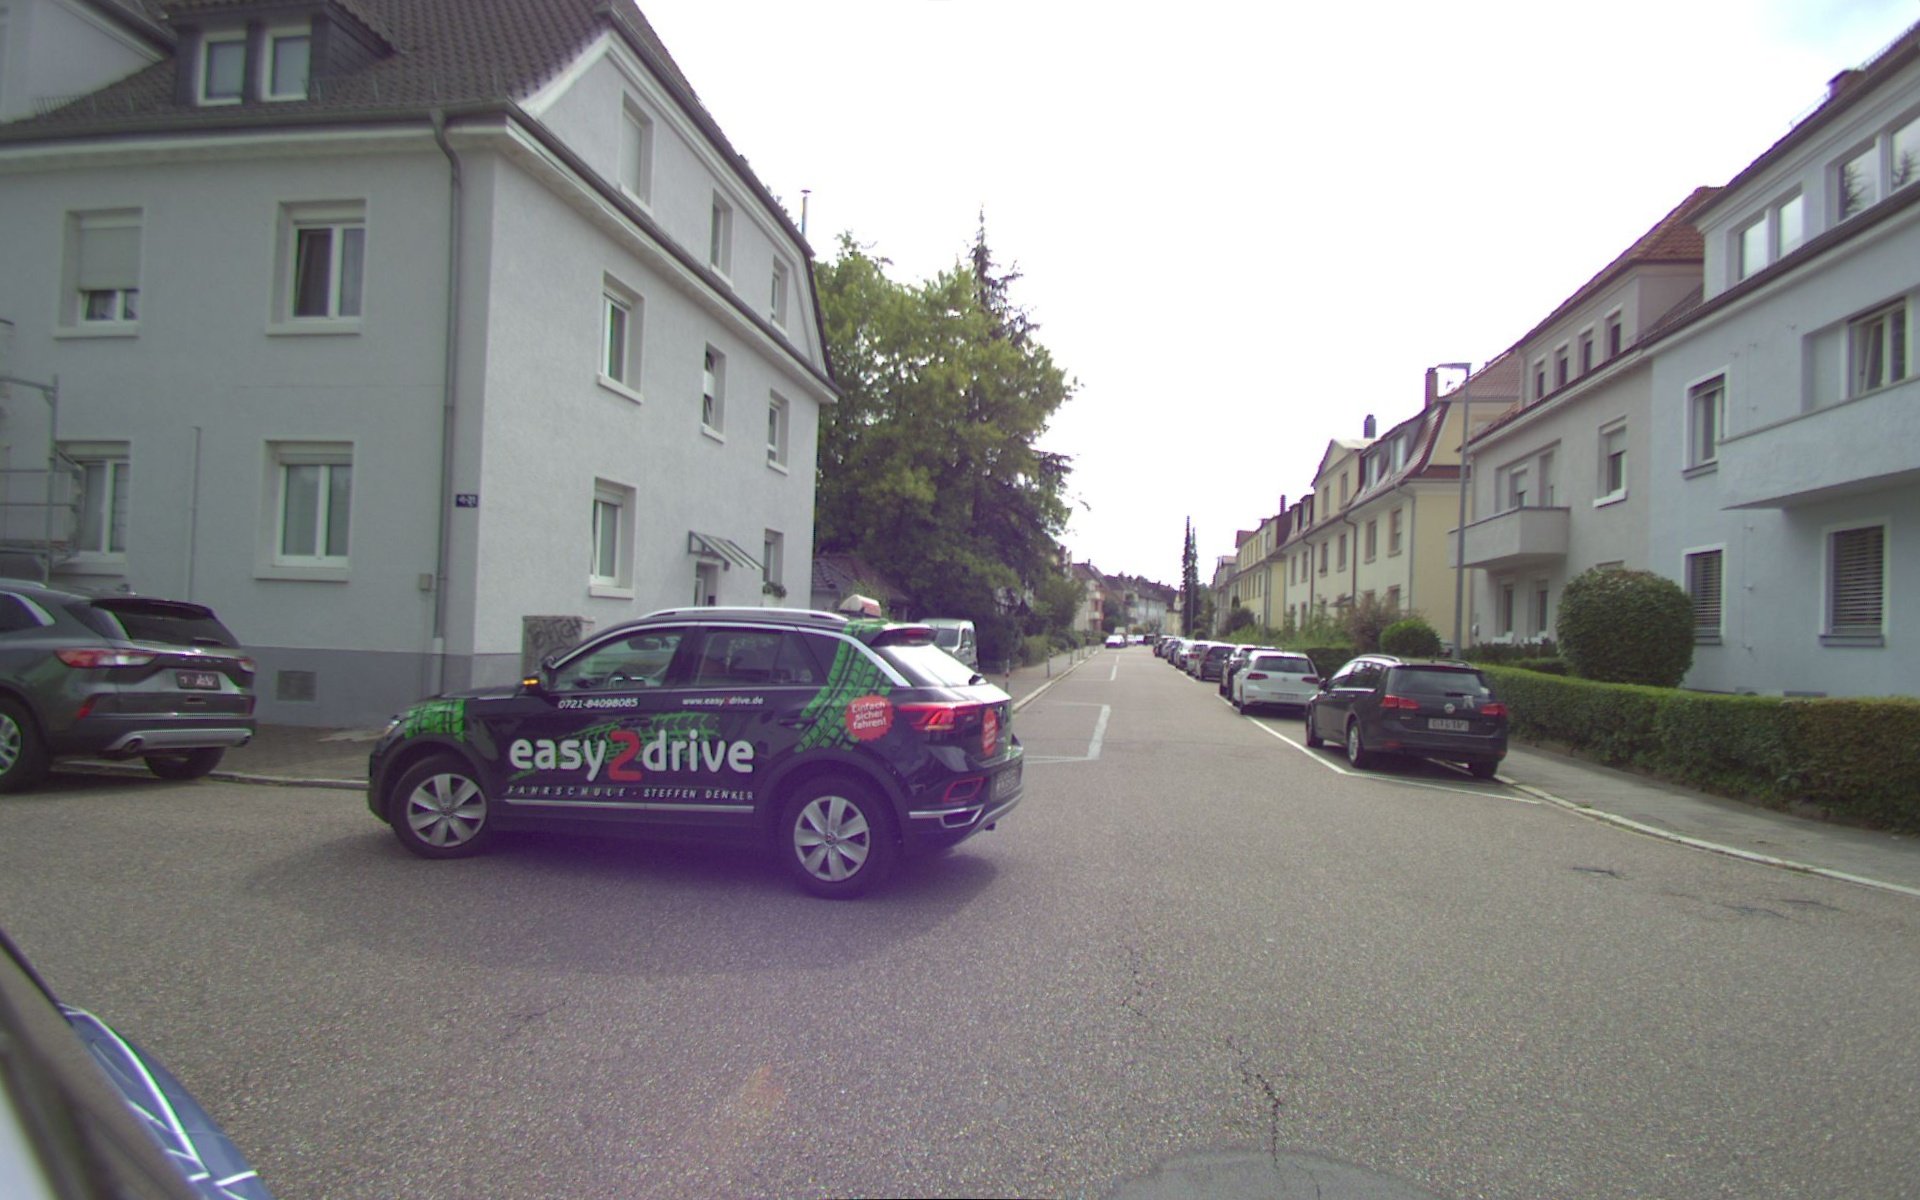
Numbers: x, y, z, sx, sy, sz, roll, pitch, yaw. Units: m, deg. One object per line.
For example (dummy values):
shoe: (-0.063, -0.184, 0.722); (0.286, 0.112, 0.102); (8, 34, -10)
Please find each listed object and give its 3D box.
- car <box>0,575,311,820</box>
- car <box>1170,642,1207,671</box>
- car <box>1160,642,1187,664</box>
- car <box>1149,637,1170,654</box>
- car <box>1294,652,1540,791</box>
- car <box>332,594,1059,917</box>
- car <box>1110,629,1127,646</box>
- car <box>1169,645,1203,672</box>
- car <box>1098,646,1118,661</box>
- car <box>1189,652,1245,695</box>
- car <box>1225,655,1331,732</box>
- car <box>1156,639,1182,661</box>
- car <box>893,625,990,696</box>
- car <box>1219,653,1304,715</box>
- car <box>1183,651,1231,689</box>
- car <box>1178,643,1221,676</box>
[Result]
car: (-8.238, 0.684, 8.578); (4.290, 1.740, 1.995); (2, -2, 7)
car: (12.903, 3.176, 57.364); (1.840, 1.483, 4.161); (2, -2, 11)
car: (15.564, 3.844, 73.951); (1.840, 1.483, 4.161); (2, -2, 11)
car: (19.290, 4.393, 98.125); (1.839, 1.590, 4.162); (2, -2, 9)
car: (6.032, 1.522, 13.940); (1.837, 1.483, 4.167); (2, -2, 6)
car: (-1.525, 0.791, 6.306); (4.007, 1.531, 1.812); (0, -3, 16)
car: (20.557, 4.860, 131.418); (1.979, 2.029, 3.985); (2, -2, 12)
car: (13.773, 3.565, 61.746); (1.840, 1.483, 4.161); (2, -2, 11)
car: (17.455, 6.276, 118.911); (1.980, 1.652, 3.983); (2, -2, 13)
car: (10.128, 2.869, 40.080); (1.840, 1.483, 4.161); (2, -2, 11)
car: (7.325, 2.097, 23.659); (1.840, 1.483, 4.161); (2, -2, 11)
car: (16.295, 3.913, 79.111); (1.840, 1.590, 4.161); (2, -2, 11)
car: (-0.457, 1.695, 29.195); (1.979, 1.852, 3.986); (2, -2, 11)
car: (8.423, 2.307, 28.580); (1.840, 1.483, 4.161); (2, -2, 11)
car: (11.001, 3.108, 45.329); (1.840, 1.483, 4.161); (2, -2, 11)
car: (11.992, 2.942, 50.896); (1.840, 1.483, 4.161); (2, -2, 11)
